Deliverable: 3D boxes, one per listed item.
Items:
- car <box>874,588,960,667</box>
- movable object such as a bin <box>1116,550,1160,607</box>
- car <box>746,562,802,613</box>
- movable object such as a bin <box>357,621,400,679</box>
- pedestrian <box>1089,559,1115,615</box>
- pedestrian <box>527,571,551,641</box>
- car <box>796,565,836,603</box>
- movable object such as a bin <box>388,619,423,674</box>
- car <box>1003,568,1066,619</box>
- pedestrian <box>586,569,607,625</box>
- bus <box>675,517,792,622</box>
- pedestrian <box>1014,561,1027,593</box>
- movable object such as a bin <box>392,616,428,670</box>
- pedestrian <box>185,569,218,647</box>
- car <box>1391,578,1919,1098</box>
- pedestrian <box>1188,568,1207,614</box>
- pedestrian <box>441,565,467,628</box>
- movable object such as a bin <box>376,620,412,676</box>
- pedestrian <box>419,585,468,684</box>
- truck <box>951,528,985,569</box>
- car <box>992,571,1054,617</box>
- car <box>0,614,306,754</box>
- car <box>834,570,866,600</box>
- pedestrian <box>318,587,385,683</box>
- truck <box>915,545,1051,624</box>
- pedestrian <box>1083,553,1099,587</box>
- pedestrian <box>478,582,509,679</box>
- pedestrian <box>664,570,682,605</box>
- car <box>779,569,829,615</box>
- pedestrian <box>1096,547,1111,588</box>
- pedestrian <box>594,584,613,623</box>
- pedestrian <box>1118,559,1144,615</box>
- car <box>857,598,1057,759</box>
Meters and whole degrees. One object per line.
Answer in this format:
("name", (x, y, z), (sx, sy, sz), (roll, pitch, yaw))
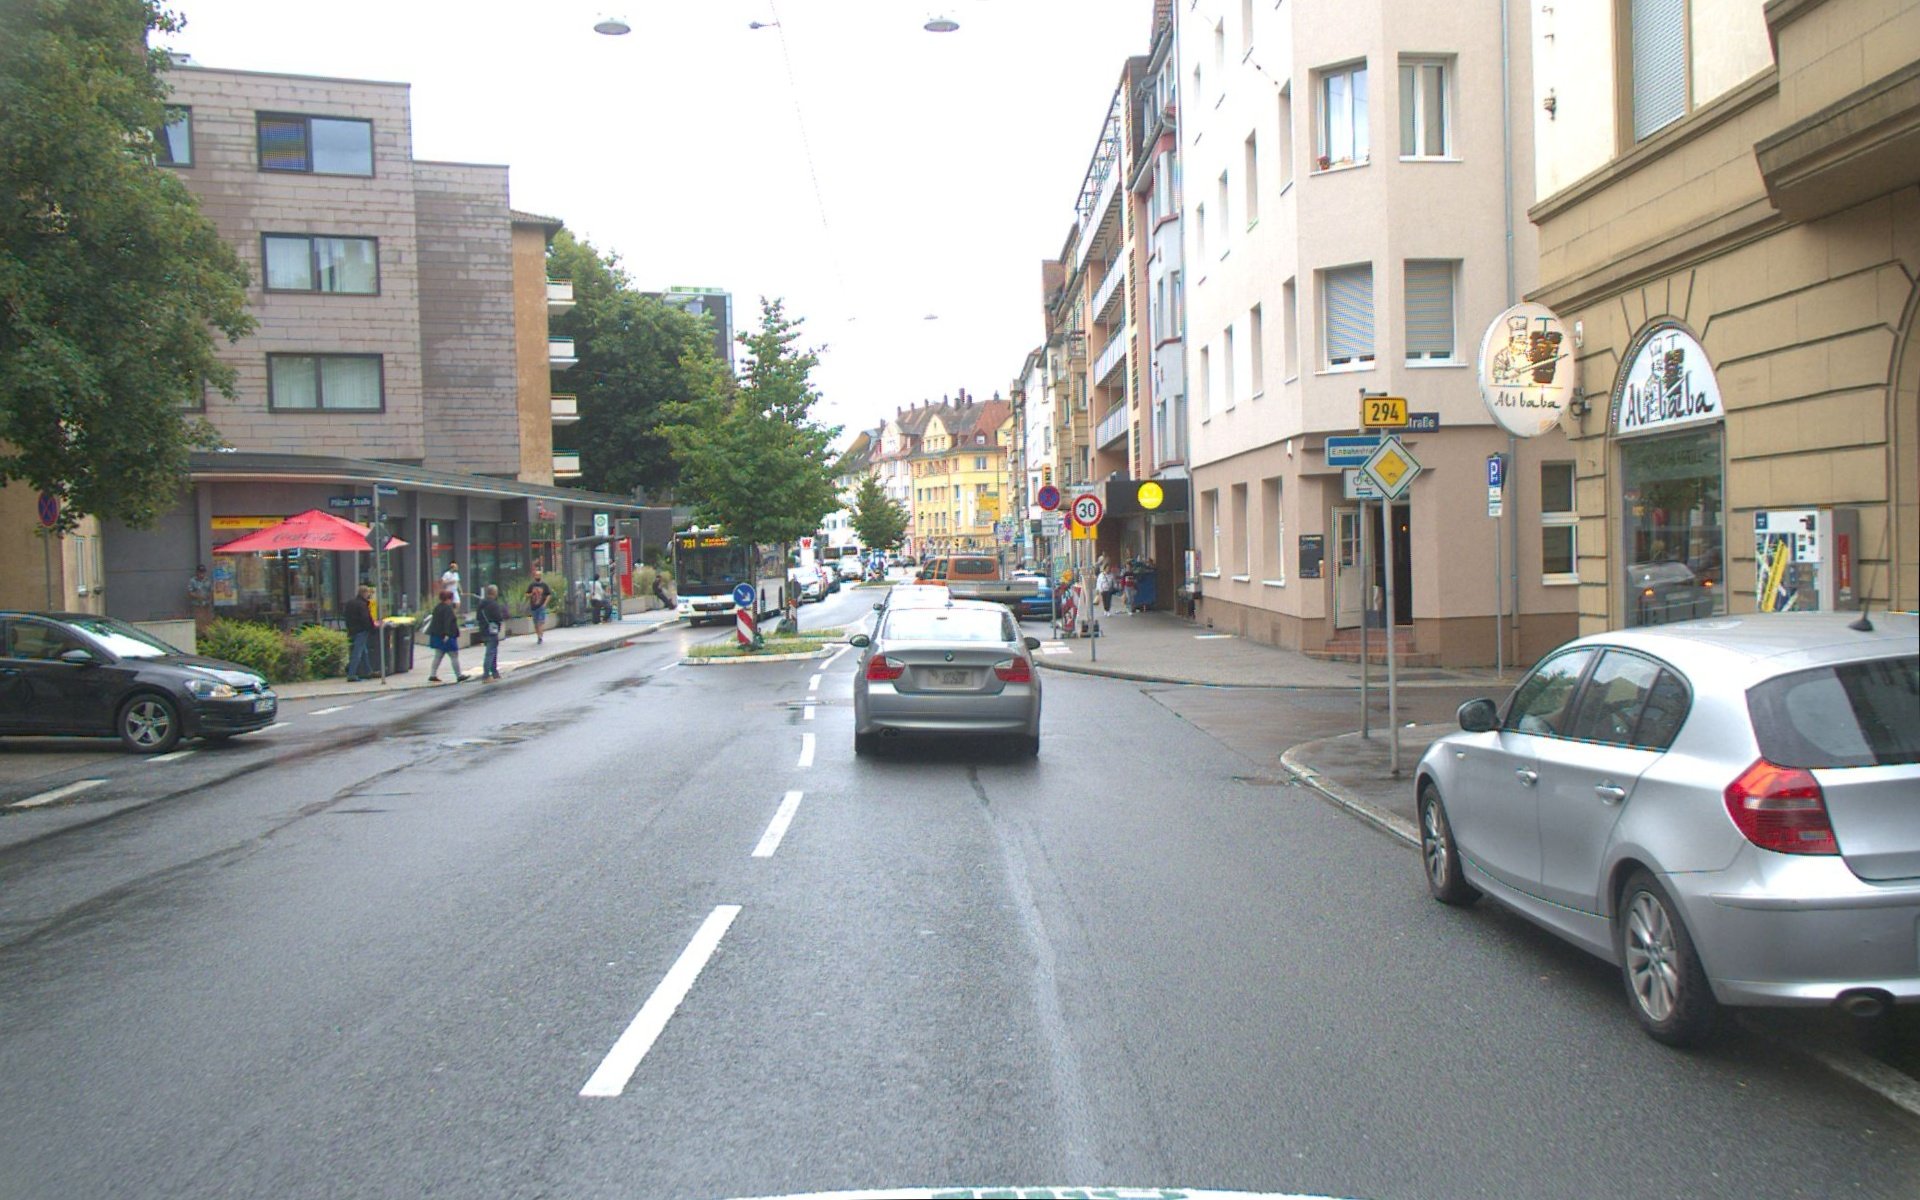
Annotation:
("car", (-0.874, 0.525, 32.467), (1.570, 1.445, 3.286), (1, -1, -3))
("movable object such as a bin", (5.577, -0.660, 51.916), (1.100, 1.732, 1.433), (-2, 0, -3))
("car", (-7.858, -0.483, 70.113), (1.953, 2.049, 3.999), (-1, 0, -1))
("movable object such as a bin", (-11.378, 0.969, 32.386), (0.542, 1.100, 0.731), (-2, -1, 0))
("pedestrian", (4.348, -0.391, 50.538), (0.733, 1.690, 0.837), (1, -1, 6))
("pedestrian", (-11.023, 0.160, 43.341), (0.533, 1.821, 0.465), (1, -1, -9))
("car", (-8.166, -0.882, 94.046), (1.953, 2.049, 3.999), (1, -1, -1))
("movable object such as a bin", (-11.373, 0.941, 33.912), (0.480, 1.100, 0.606), (-2, -1, 0))
("car", (2.357, -0.187, 53.184), (1.772, 1.545, 3.999), (1, -1, -1))
("pedestrian", (-11.431, -0.104, 52.023), (0.532, 1.739, 0.465), (1, -1, -7))
("bus", (-7.771, -1.009, 58.308), (2.627, 3.256, 11.953), (-2, 0, -1))
("pedestrian", (2.801, -1.075, 76.091), (0.511, 1.446, 0.430), (1, -1, 9))
("movable object such as a bin", (-11.538, 0.900, 34.700), (0.462, 1.090, 0.539), (-3, -1, 36))
("pedestrian", (-18.323, 0.174, 39.940), (0.627, 1.847, 0.631), (-2, 1, -30))
("car", (3.163, 0.697, 7.024), (1.537, 1.489, 4.089), (-3, 0, 0))
("pedestrian", (6.487, -0.244, 45.190), (0.404, 1.223, 0.357), (-3, 2, 2))
("pedestrian", (-14.303, -0.095, 46.751), (0.648, 1.735, 0.658), (1, -1, -19))
("movable object such as a bin", (-11.380, 0.957, 33.245), (0.480, 1.100, 0.606), (-2, -1, 0))
("pedestrian", (-9.464, 0.626, 30.318), (0.729, 1.738, 0.676), (-4, 1, -21))
("truck", (0.551, -3.583, 115.659), (2.172, 2.589, 4.778), (1, -1, -1))
("car", (2.203, -0.204, 59.005), (1.953, 1.545, 3.999), (1, -1, -1))
("car", (-9.244, 0.869, 17.773), (3.738, 1.414, 1.742), (0, -1, -1))
("car", (-8.130, -1.097, 122.300), (1.952, 2.049, 4.001), (1, -1, 2))
("pedestrian", (-11.466, 0.646, 31.188), (1.043, 1.761, 0.712), (-1, 1, -10))
("truck", (0.621, -0.465, 49.179), (2.188, 2.153, 4.615), (2, 0, -25))
("pedestrian", (5.766, -1.318, 72.743), (0.552, 1.446, 0.797), (1, -1, 12))
("pedestrian", (-8.449, 0.549, 29.940), (0.458, 1.739, 0.541), (2, -1, -21))
("pedestrian", (-11.792, -0.506, 67.965), (0.607, 1.402, 0.544), (1, -1, 1))
("car", (-7.183, -0.336, 76.517), (1.953, 2.049, 3.999), (-1, 0, -1))
("pedestrian", (5.940, -1.342, 68.504), (0.602, 1.690, 0.755), (1, -1, 6))
("pedestrian", (-11.593, 0.106, 53.837), (0.455, 1.252, 0.544), (1, -1, 1))
("pedestrian", (5.172, -0.387, 49.957), (0.734, 1.690, 0.755), (1, -1, 6))
("car", (-0.035, 0.686, 15.805), (1.720, 1.386, 3.164), (0, -1, 0))
